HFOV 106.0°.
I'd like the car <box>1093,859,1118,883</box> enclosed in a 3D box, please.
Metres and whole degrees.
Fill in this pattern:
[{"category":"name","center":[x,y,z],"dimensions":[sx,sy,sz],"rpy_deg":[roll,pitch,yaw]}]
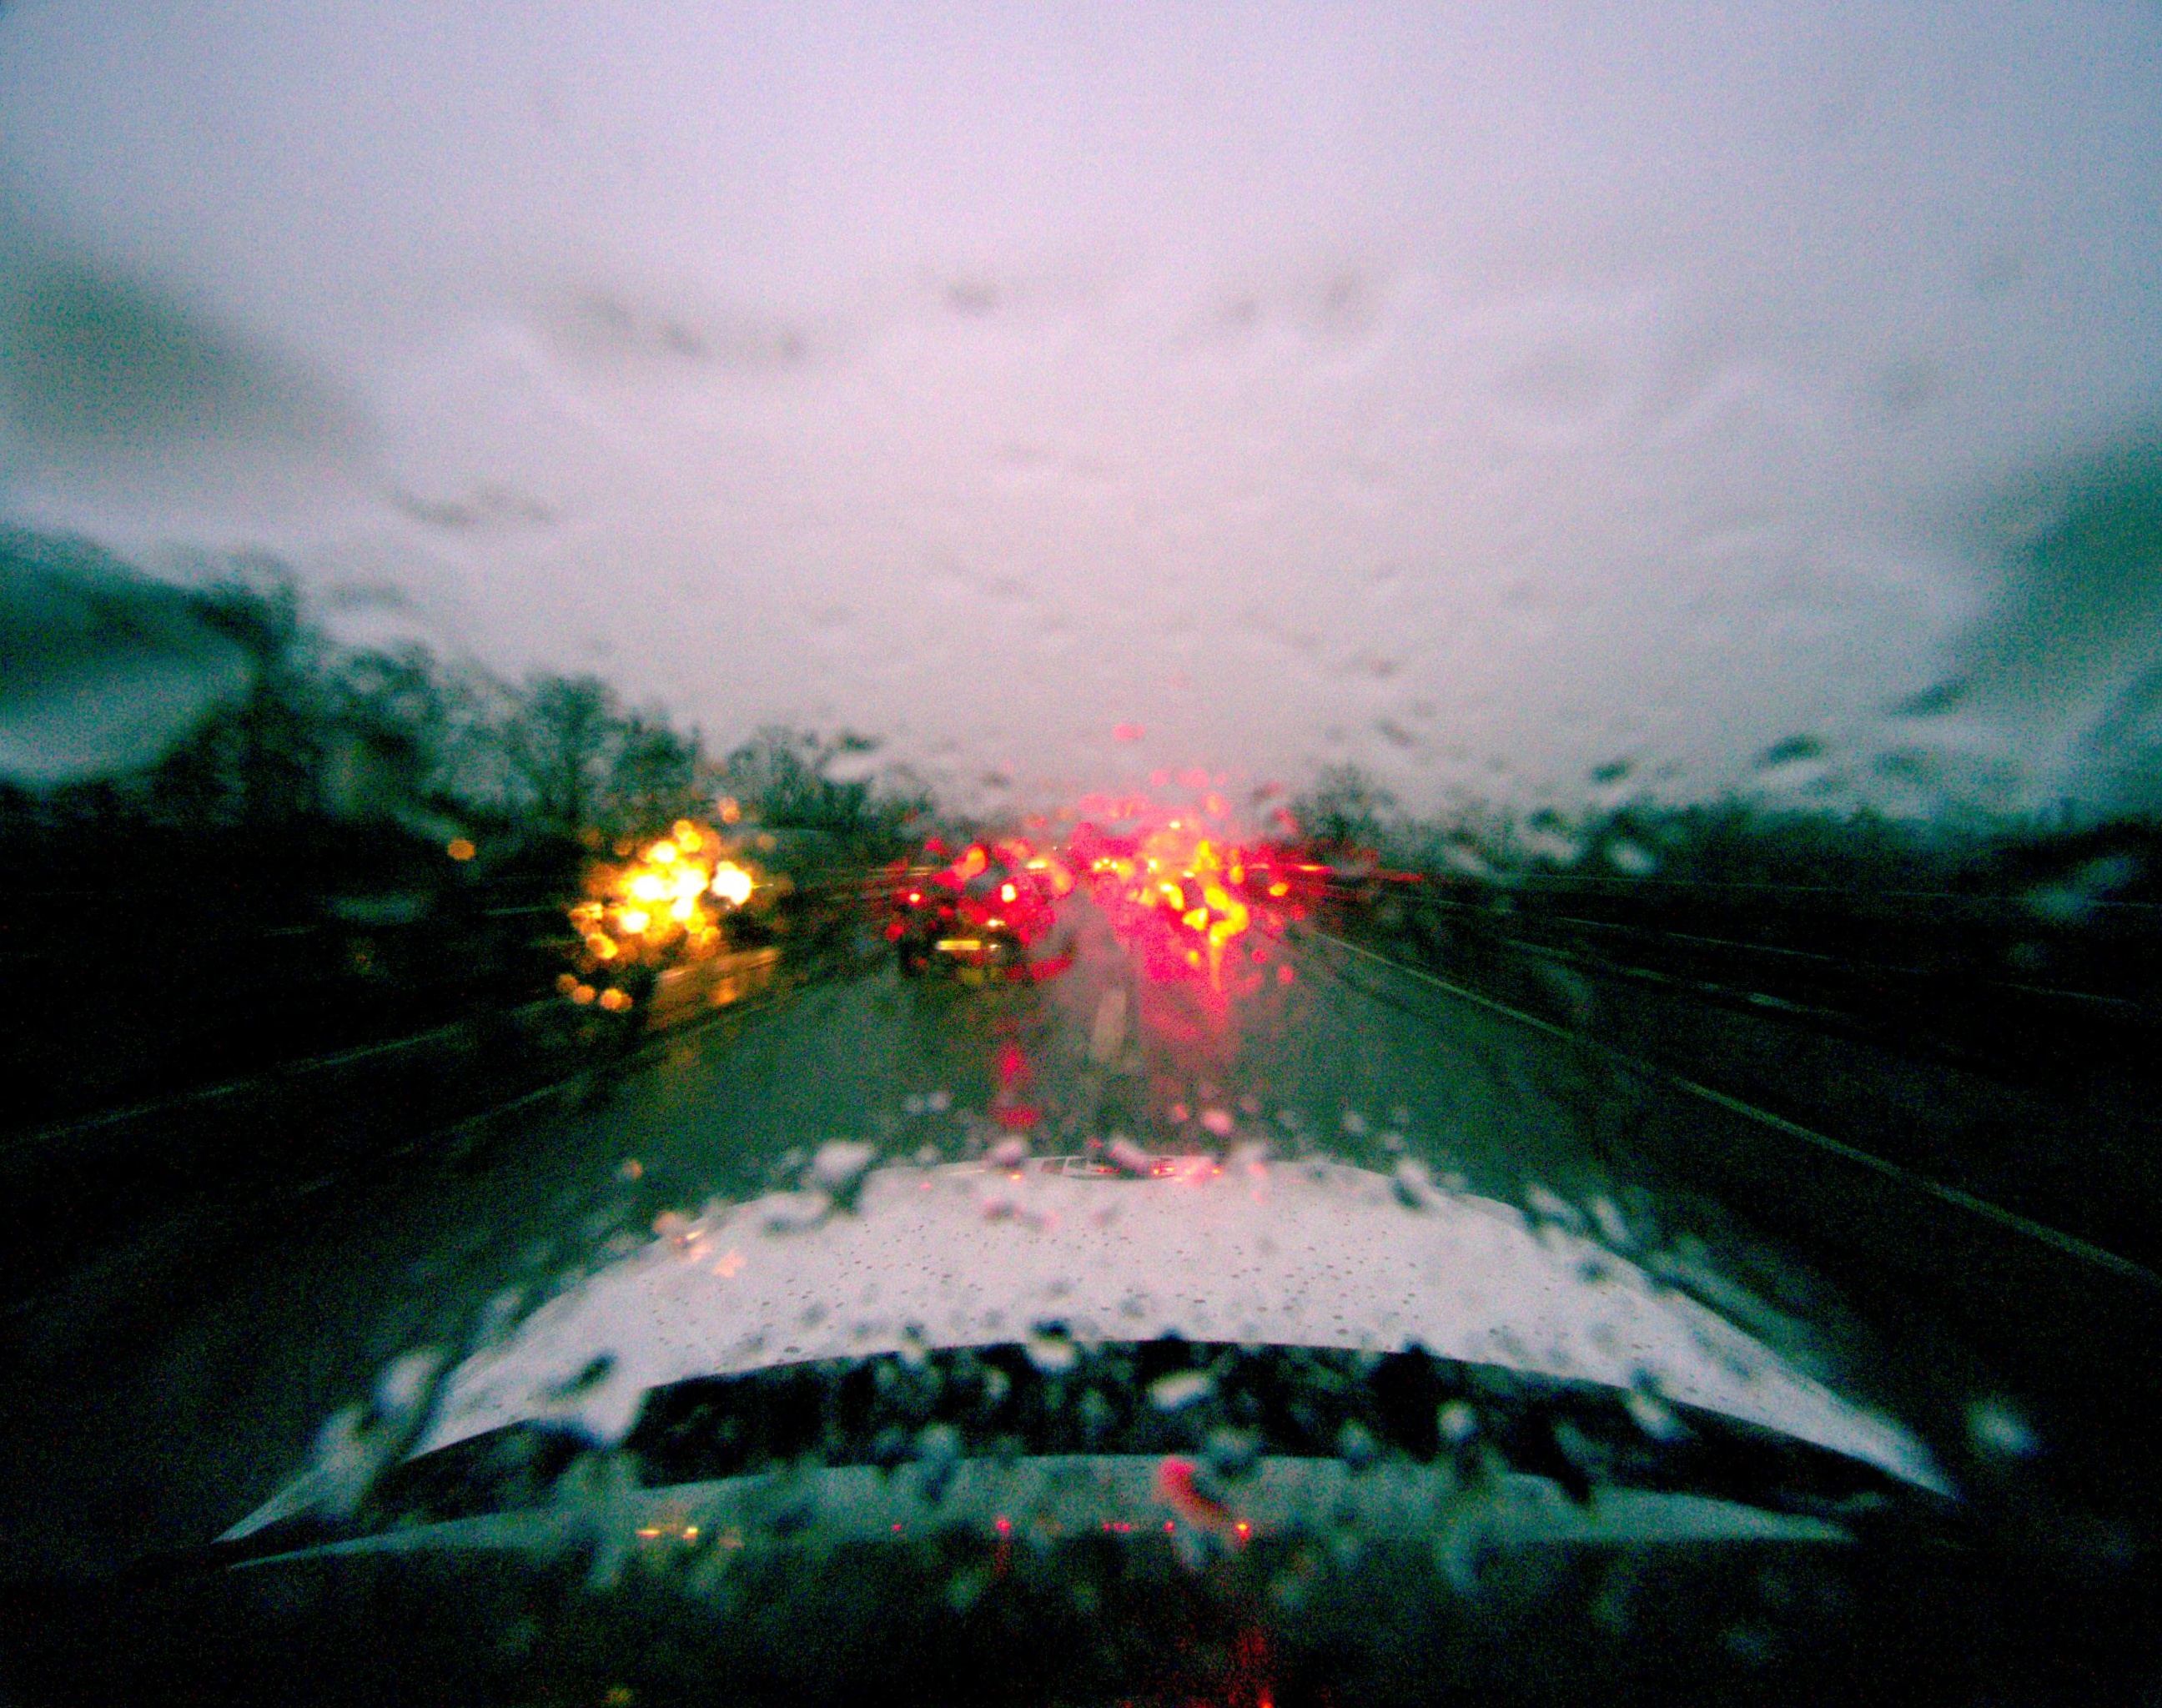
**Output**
[{"category":"car","center":[2.019,1.381,67.344],"dimensions":[1.986,1.815,4.002],"rpy_deg":[1,0,2]}]

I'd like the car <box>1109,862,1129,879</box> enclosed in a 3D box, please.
[{"category":"car","center":[3.917,1.656,84.554],"dimensions":[1.986,1.714,4.001],"rpy_deg":[0,-1,1]}]

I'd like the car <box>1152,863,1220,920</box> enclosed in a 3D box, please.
[{"category":"car","center":[2.940,1.000,23.503],"dimensions":[1.728,1.414,4.384],"rpy_deg":[1,0,5]}]

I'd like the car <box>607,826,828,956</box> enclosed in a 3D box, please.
[{"category":"car","center":[-7.260,0.694,17.019],"dimensions":[2.041,2.263,5.211],"rpy_deg":[-1,-1,3]}]

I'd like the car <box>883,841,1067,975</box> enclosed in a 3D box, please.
[{"category":"car","center":[-1.278,0.684,11.505],"dimensions":[1.722,1.533,4.047],"rpy_deg":[-1,-2,5]}]

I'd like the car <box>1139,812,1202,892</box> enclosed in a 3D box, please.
[{"category":"car","center":[3.657,-0.012,34.321],"dimensions":[2.272,2.966,6.396],"rpy_deg":[-2,-1,4]}]
